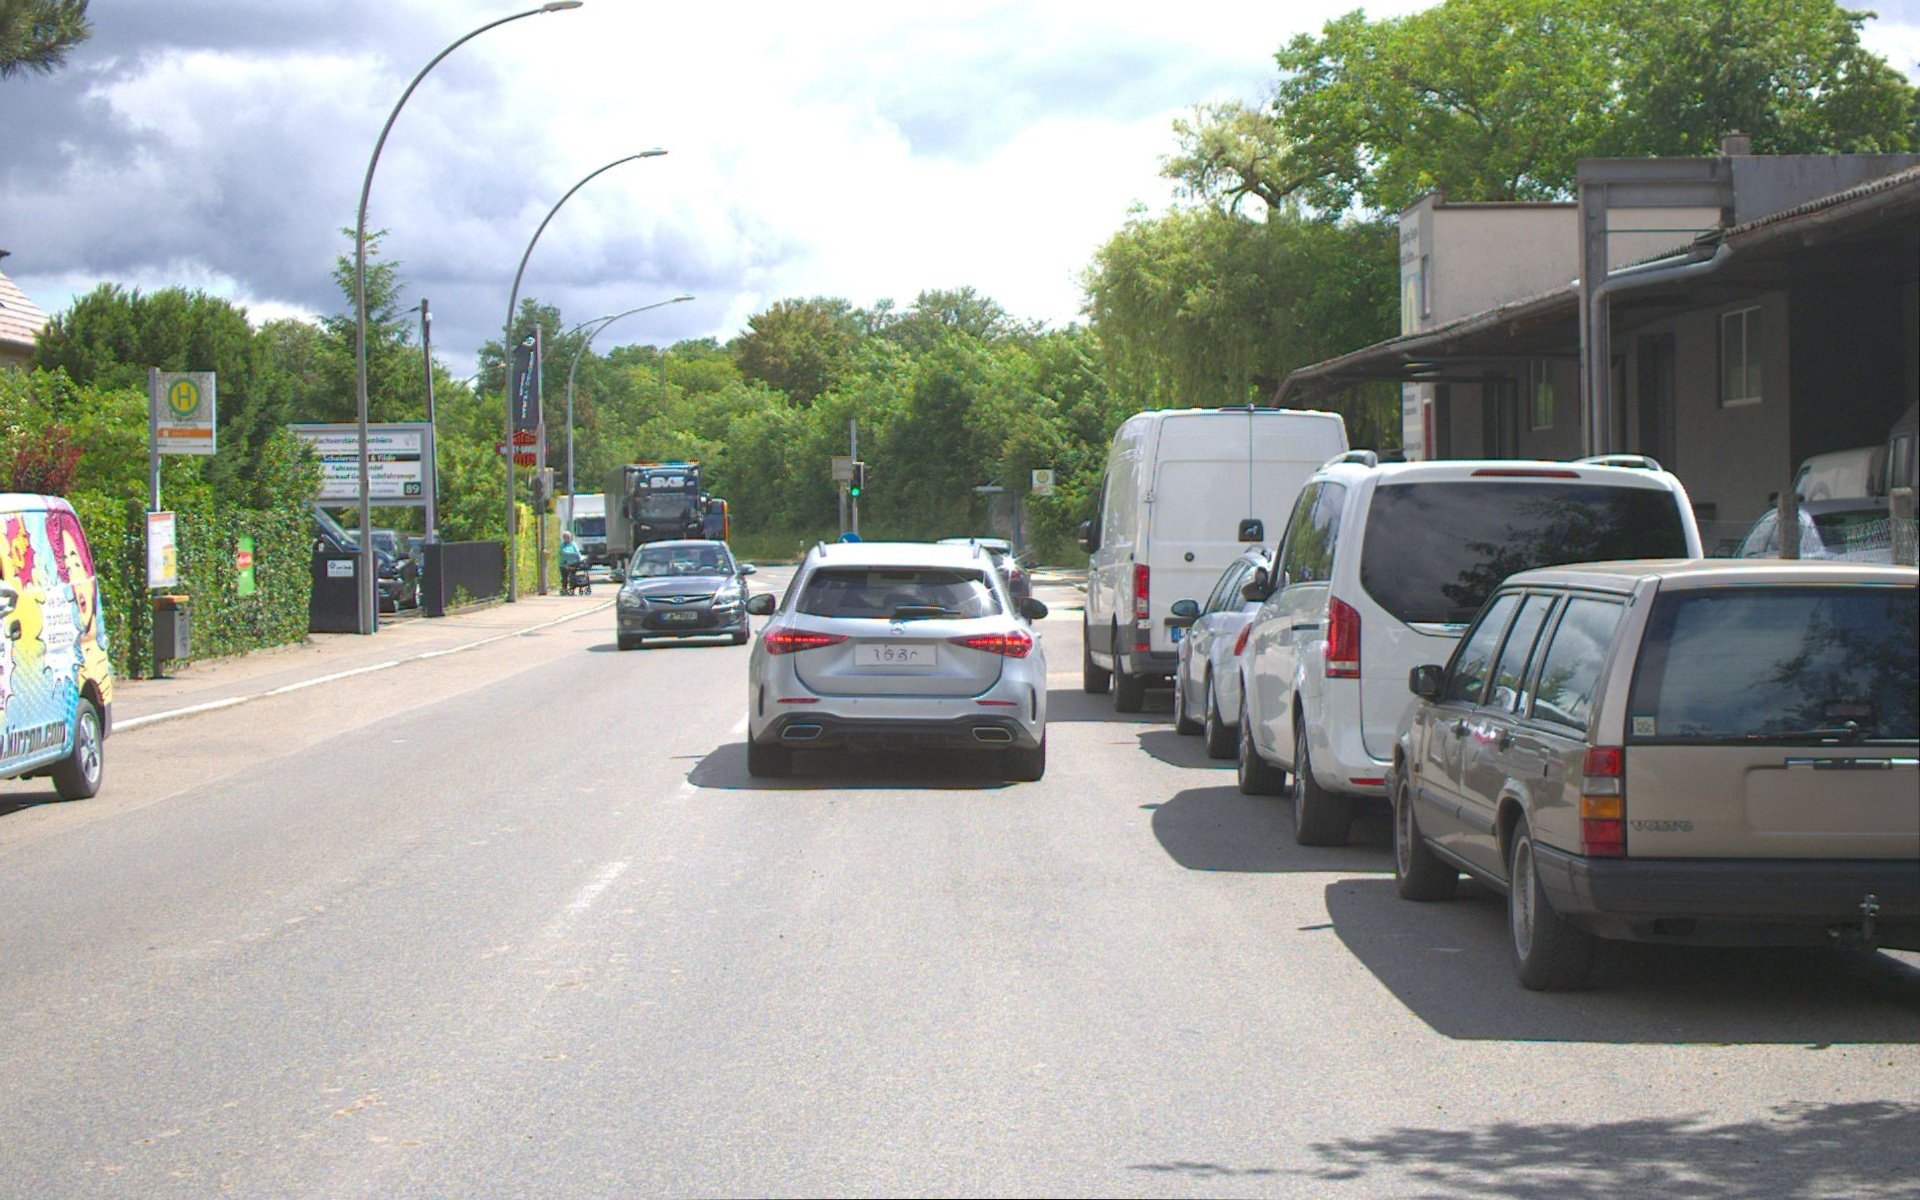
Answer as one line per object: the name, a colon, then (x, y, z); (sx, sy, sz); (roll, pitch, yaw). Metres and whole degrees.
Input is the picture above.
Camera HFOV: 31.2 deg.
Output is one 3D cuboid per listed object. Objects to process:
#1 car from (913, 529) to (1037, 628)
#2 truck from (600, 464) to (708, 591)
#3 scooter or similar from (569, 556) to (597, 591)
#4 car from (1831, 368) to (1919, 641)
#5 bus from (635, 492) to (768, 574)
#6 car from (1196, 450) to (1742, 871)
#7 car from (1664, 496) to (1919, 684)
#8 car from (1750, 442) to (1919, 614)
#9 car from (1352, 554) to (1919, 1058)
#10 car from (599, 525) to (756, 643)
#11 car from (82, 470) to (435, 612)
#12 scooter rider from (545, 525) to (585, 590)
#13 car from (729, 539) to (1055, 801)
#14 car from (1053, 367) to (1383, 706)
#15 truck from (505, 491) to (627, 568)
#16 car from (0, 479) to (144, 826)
car: (0.224, -0.363, 54.564); (1.885, 1.503, 4.000); (0, 1, 0)
truck: (-10.554, -2.466, 117.822); (2.428, 4.117, 9.153); (1, 1, -12)
scooter or similar: (-9.304, -0.652, 84.801); (0.611, 0.829, 0.659); (1, 1, 0)
car: (10.392, -0.960, 33.899); (2.017, 2.672, 5.499); (-1, 2, -2)
bus: (-11.123, -2.807, 146.579); (2.777, 3.255, 12.127); (-2, 1, -18)
car: (2.496, 0.215, 18.302); (1.905, 1.879, 5.390); (1, 1, -2)
car: (7.564, -0.156, 29.982); (1.764, 1.484, 4.927); (-1, 2, -1)
car: (10.958, -0.890, 40.762); (1.993, 1.903, 4.853); (-1, 2, -1)
car: (2.658, 0.594, 12.800); (1.754, 1.445, 4.994); (2, 1, 0)
car: (-3.872, -0.257, 47.739); (1.900, 1.512, 4.319); (-1, 1, -2)
car: (-13.027, -1.106, 64.115); (6.037, 2.488, 2.477); (-1, 1, 0)
scooter rider: (-9.800, -1.053, 85.257); (0.878, 1.584, 0.796); (-1, 1, 0)
car: (-0.399, 0.371, 21.989); (1.884, 1.503, 4.000); (0, 1, 0)
car: (2.180, -0.582, 31.122); (2.215, 2.680, 6.658); (-1, 1, -2)
truck: (-19.008, -3.358, 165.252); (2.839, 3.528, 9.726); (-2, 1, -25)
car: (-6.085, 0.312, 19.151); (1.833, 1.847, 4.896); (-4, 2, -1)
